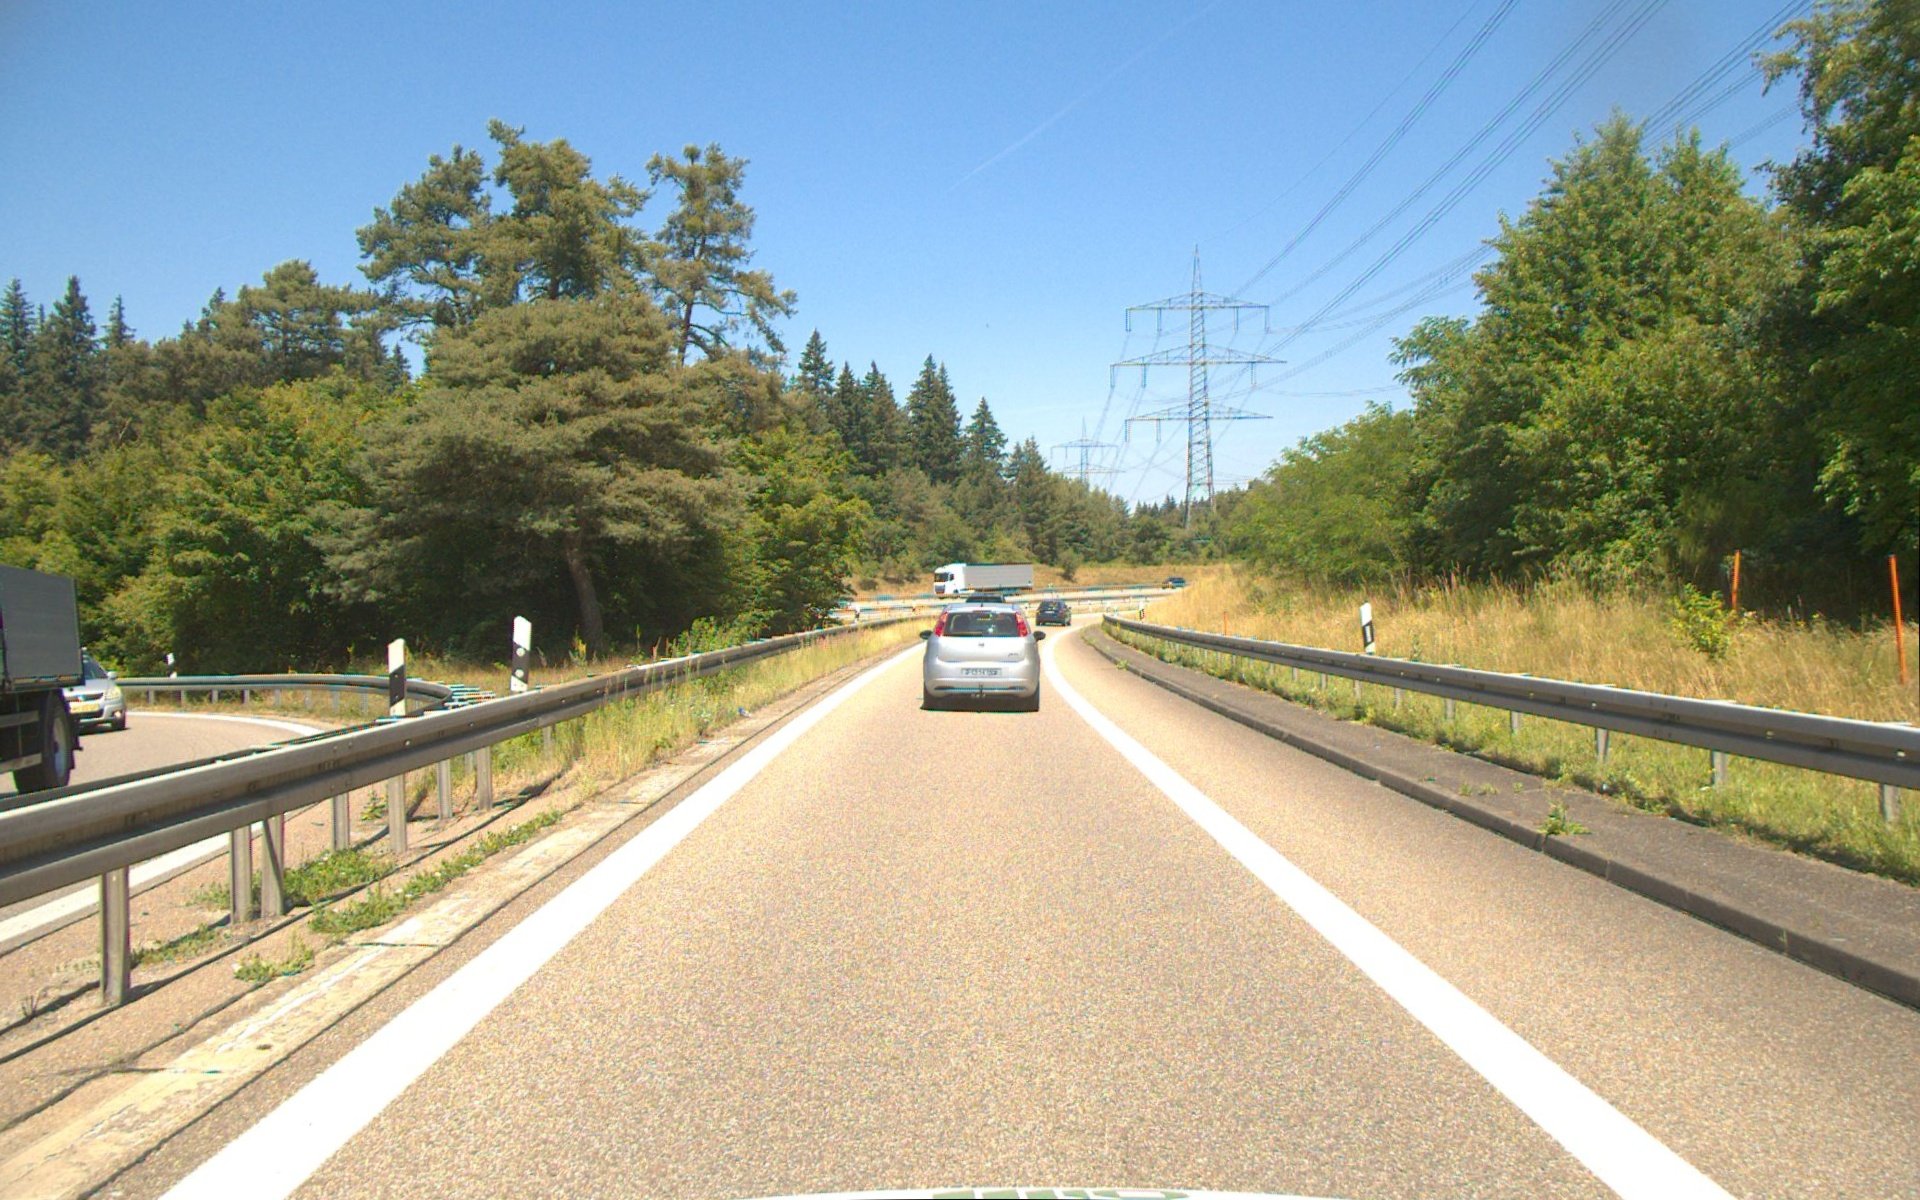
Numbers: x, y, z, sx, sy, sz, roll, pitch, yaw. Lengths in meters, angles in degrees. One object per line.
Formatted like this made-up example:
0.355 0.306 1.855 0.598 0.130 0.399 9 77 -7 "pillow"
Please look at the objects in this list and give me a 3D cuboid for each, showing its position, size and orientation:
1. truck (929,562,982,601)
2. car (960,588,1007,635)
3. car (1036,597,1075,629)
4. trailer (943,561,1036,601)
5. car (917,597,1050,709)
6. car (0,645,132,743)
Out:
-0.494 -2.187 198.265 2.894 4.469 6.238 -2 0 40 "truck"
0.865 0.426 62.577 1.671 1.705 3.397 0 1 -1 "car"
5.583 0.729 96.362 1.842 1.713 4.003 -3 0 8 "car"
3.746 -2.407 203.281 2.880 4.463 14.221 -2 0 40 "trailer"
0.278 0.750 24.005 1.672 1.508 3.395 0 -1 -4 "car"
-17.979 1.809 32.990 1.976 1.669 5.210 -3 0 -33 "car"
